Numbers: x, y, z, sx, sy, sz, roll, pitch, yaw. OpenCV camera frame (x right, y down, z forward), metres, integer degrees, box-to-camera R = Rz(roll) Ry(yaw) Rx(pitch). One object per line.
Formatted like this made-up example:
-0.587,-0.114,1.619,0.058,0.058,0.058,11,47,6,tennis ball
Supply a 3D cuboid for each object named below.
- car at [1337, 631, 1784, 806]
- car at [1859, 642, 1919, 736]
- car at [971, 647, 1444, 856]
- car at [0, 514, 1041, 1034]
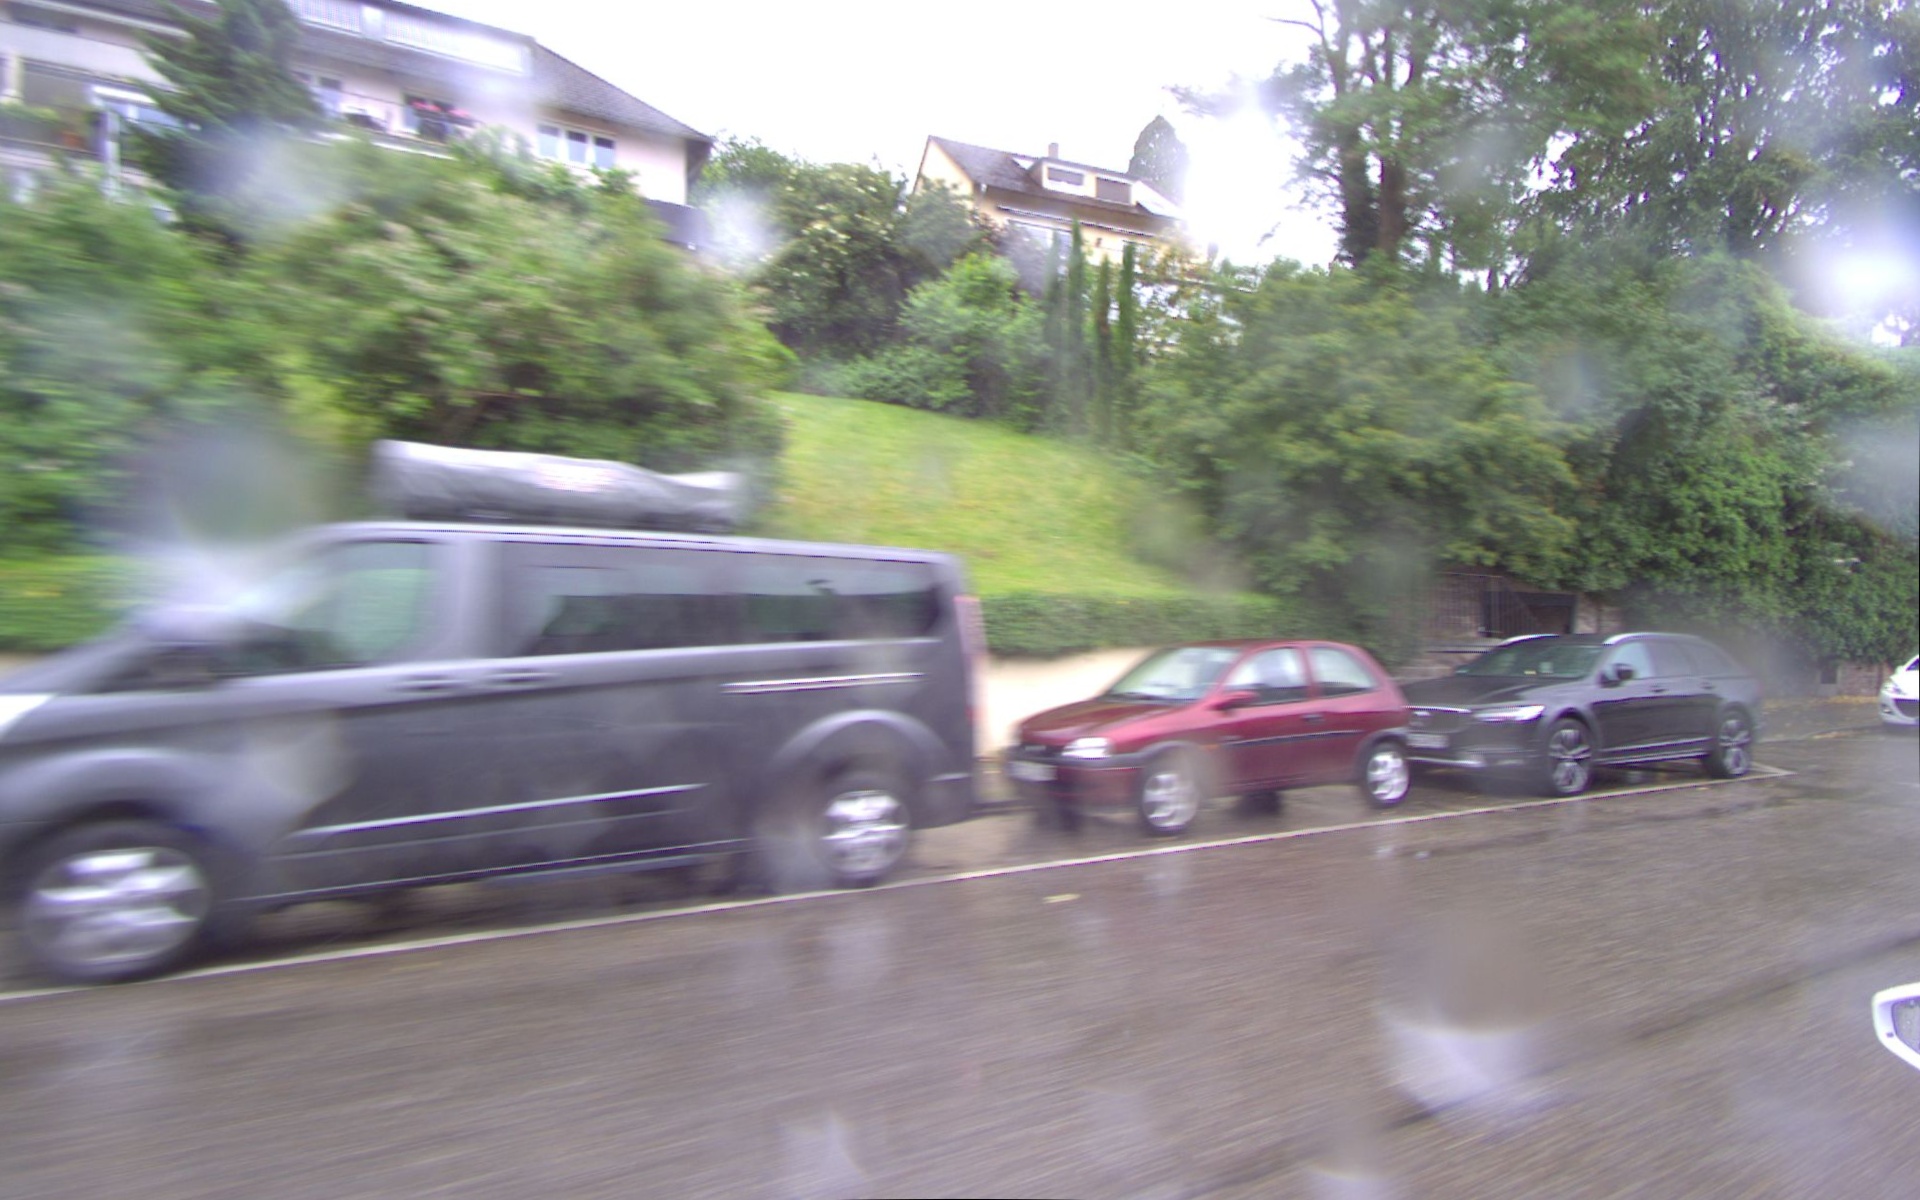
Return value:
6.395,1.124,10.617,4.695,1.500,1.901,2,-3,-28,car
16.219,1.363,15.983,4.036,1.383,1.708,1,-2,-31,car
2.138,1.095,8.389,3.862,1.382,1.557,2,-2,-31,car
-2.320,0.720,5.710,5.259,1.944,2.149,2,-2,-29,car
